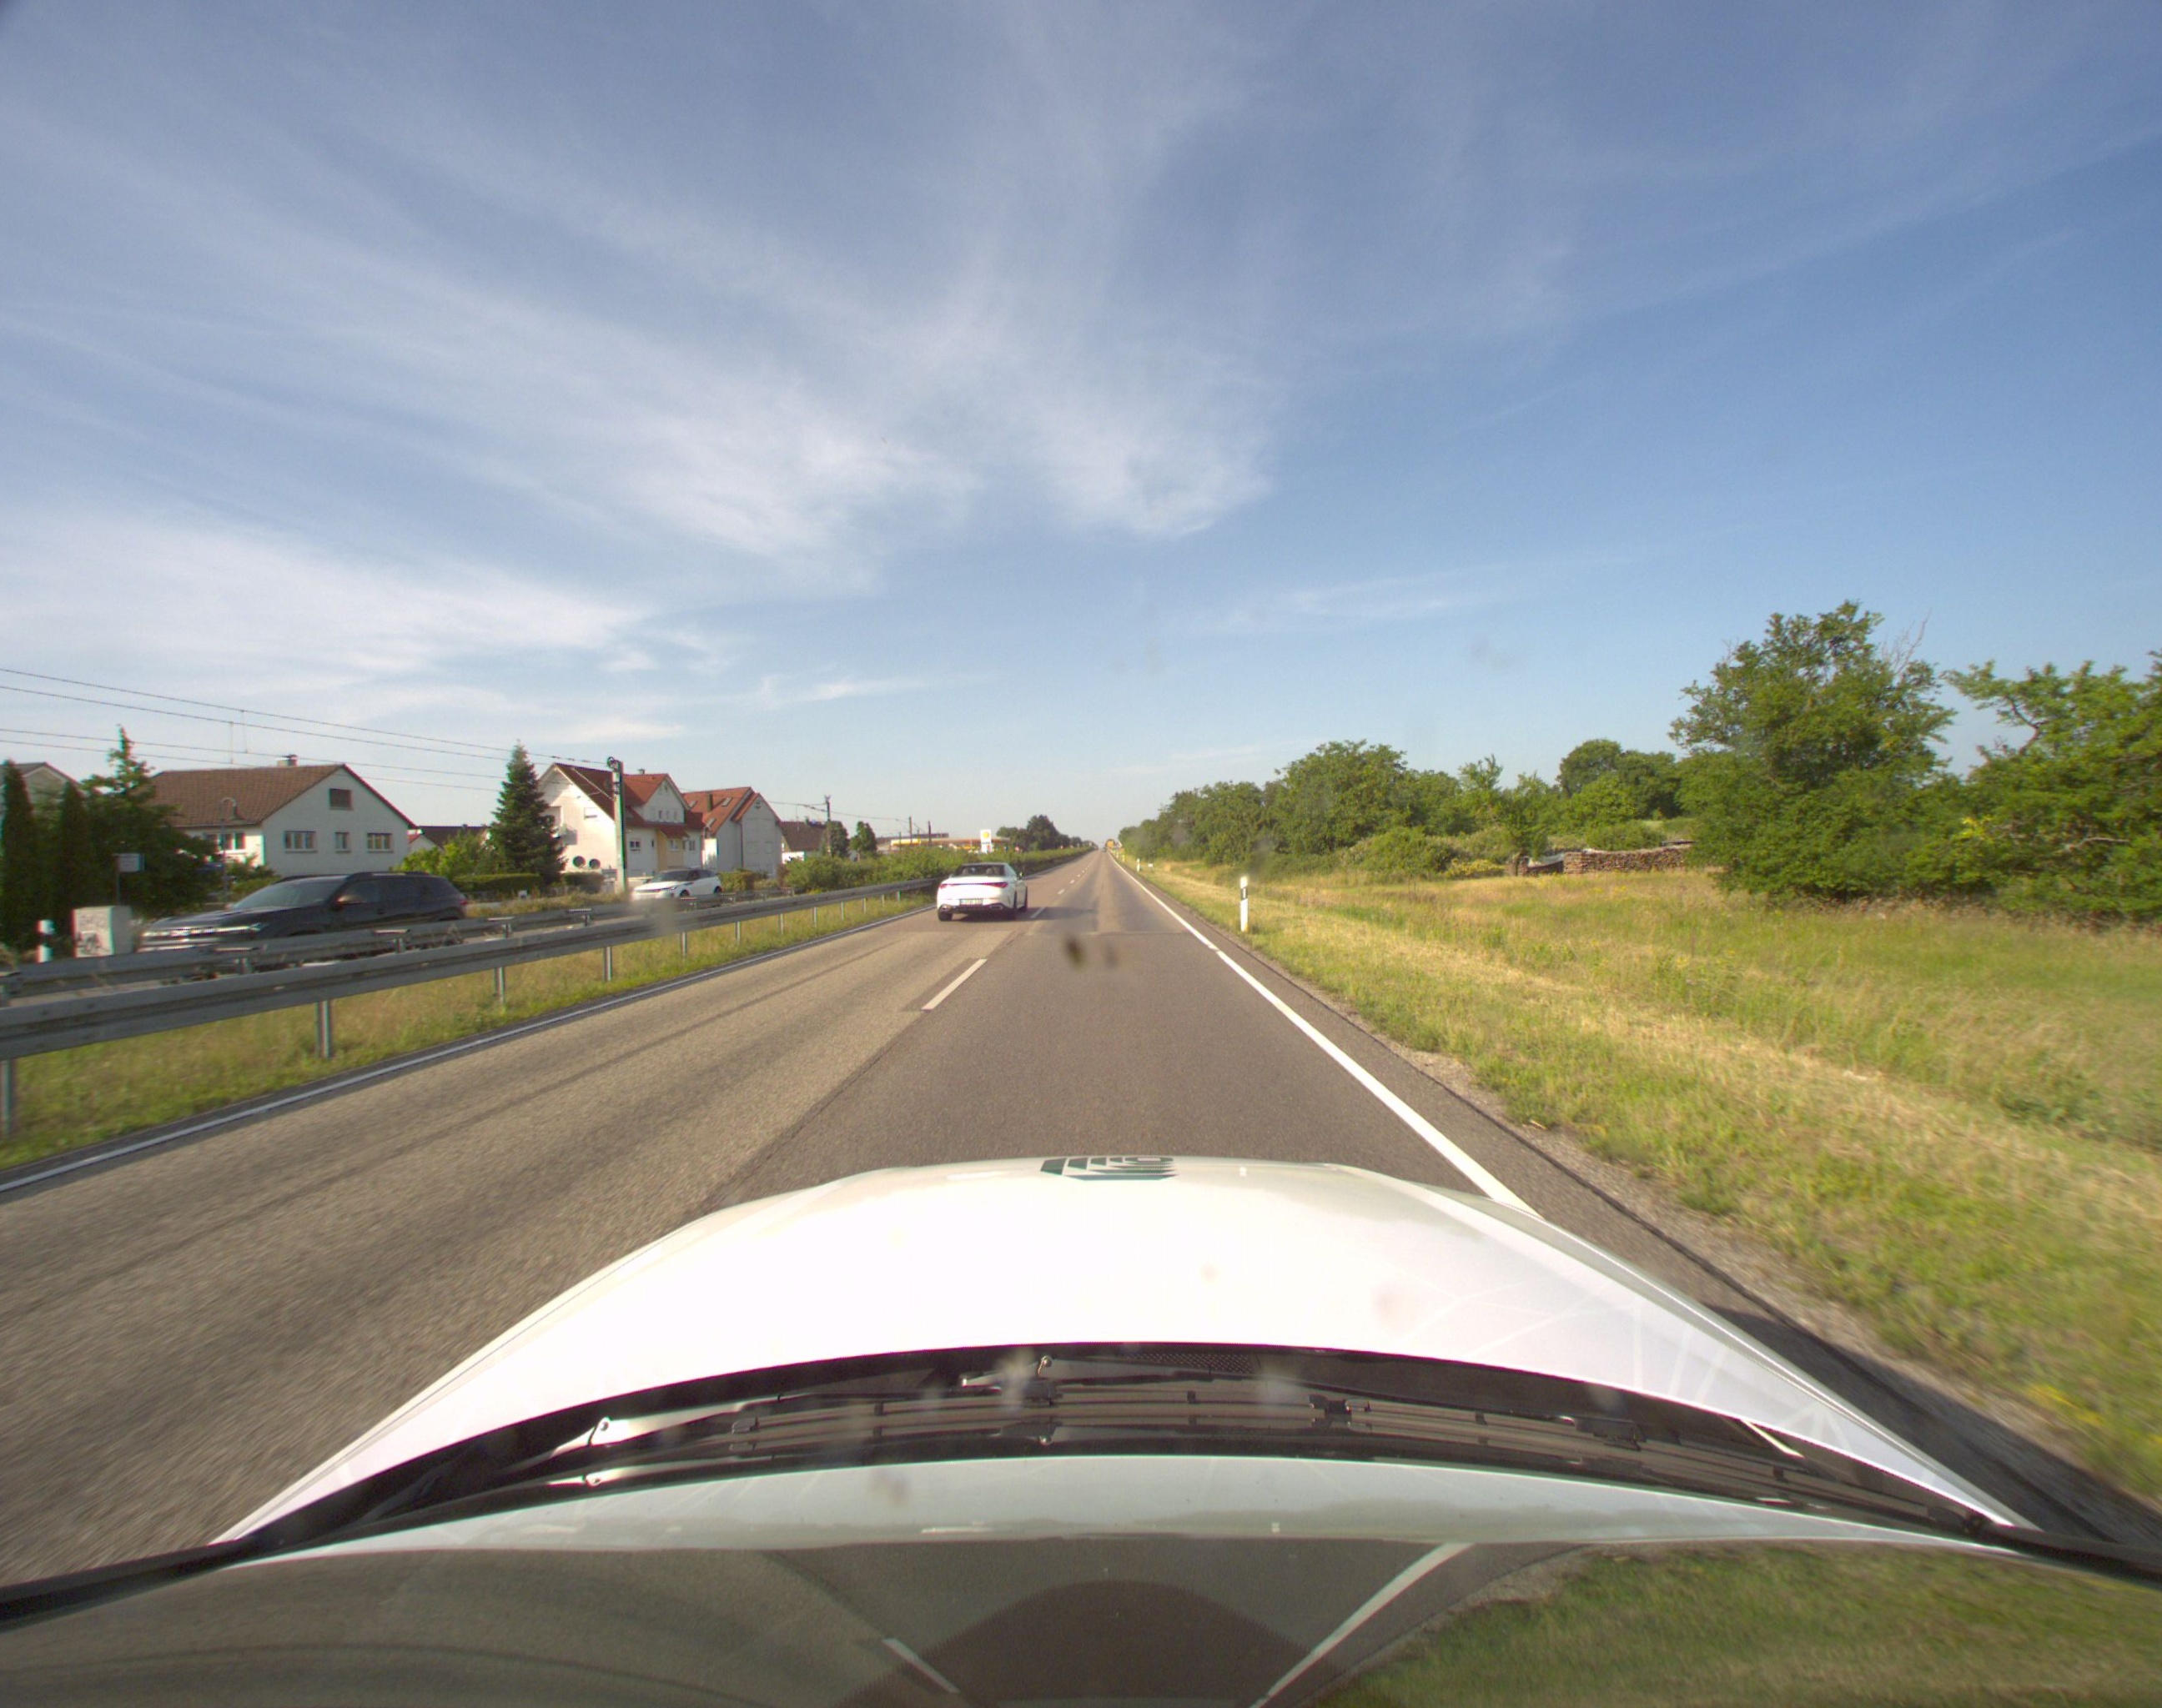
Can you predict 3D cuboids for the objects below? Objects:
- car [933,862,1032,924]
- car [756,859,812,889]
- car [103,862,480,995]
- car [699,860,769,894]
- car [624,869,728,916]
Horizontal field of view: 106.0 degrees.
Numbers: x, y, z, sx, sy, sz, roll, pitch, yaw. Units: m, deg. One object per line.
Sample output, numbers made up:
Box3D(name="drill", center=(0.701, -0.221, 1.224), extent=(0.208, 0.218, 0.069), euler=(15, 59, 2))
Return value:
Box3D(name="car", center=(-2.385, 0.915, 20.891), extent=(1.764, 1.337, 4.952), euler=(0, 0, 2))
Box3D(name="car", center=(-18.470, 1.207, 50.841), extent=(1.986, 1.750, 4.001), euler=(0, 0, 1))
Box3D(name="car", center=(-12.338, 1.034, 13.240), extent=(1.723, 1.634, 4.320), euler=(-4, 0, 1))
Box3D(name="car", center=(-18.743, 1.213, 44.176), extent=(1.986, 1.750, 4.001), euler=(0, 0, 1))
Box3D(name="car", center=(-15.631, 1.445, 31.690), extent=(1.709, 1.611, 4.448), euler=(0, 0, 1))
